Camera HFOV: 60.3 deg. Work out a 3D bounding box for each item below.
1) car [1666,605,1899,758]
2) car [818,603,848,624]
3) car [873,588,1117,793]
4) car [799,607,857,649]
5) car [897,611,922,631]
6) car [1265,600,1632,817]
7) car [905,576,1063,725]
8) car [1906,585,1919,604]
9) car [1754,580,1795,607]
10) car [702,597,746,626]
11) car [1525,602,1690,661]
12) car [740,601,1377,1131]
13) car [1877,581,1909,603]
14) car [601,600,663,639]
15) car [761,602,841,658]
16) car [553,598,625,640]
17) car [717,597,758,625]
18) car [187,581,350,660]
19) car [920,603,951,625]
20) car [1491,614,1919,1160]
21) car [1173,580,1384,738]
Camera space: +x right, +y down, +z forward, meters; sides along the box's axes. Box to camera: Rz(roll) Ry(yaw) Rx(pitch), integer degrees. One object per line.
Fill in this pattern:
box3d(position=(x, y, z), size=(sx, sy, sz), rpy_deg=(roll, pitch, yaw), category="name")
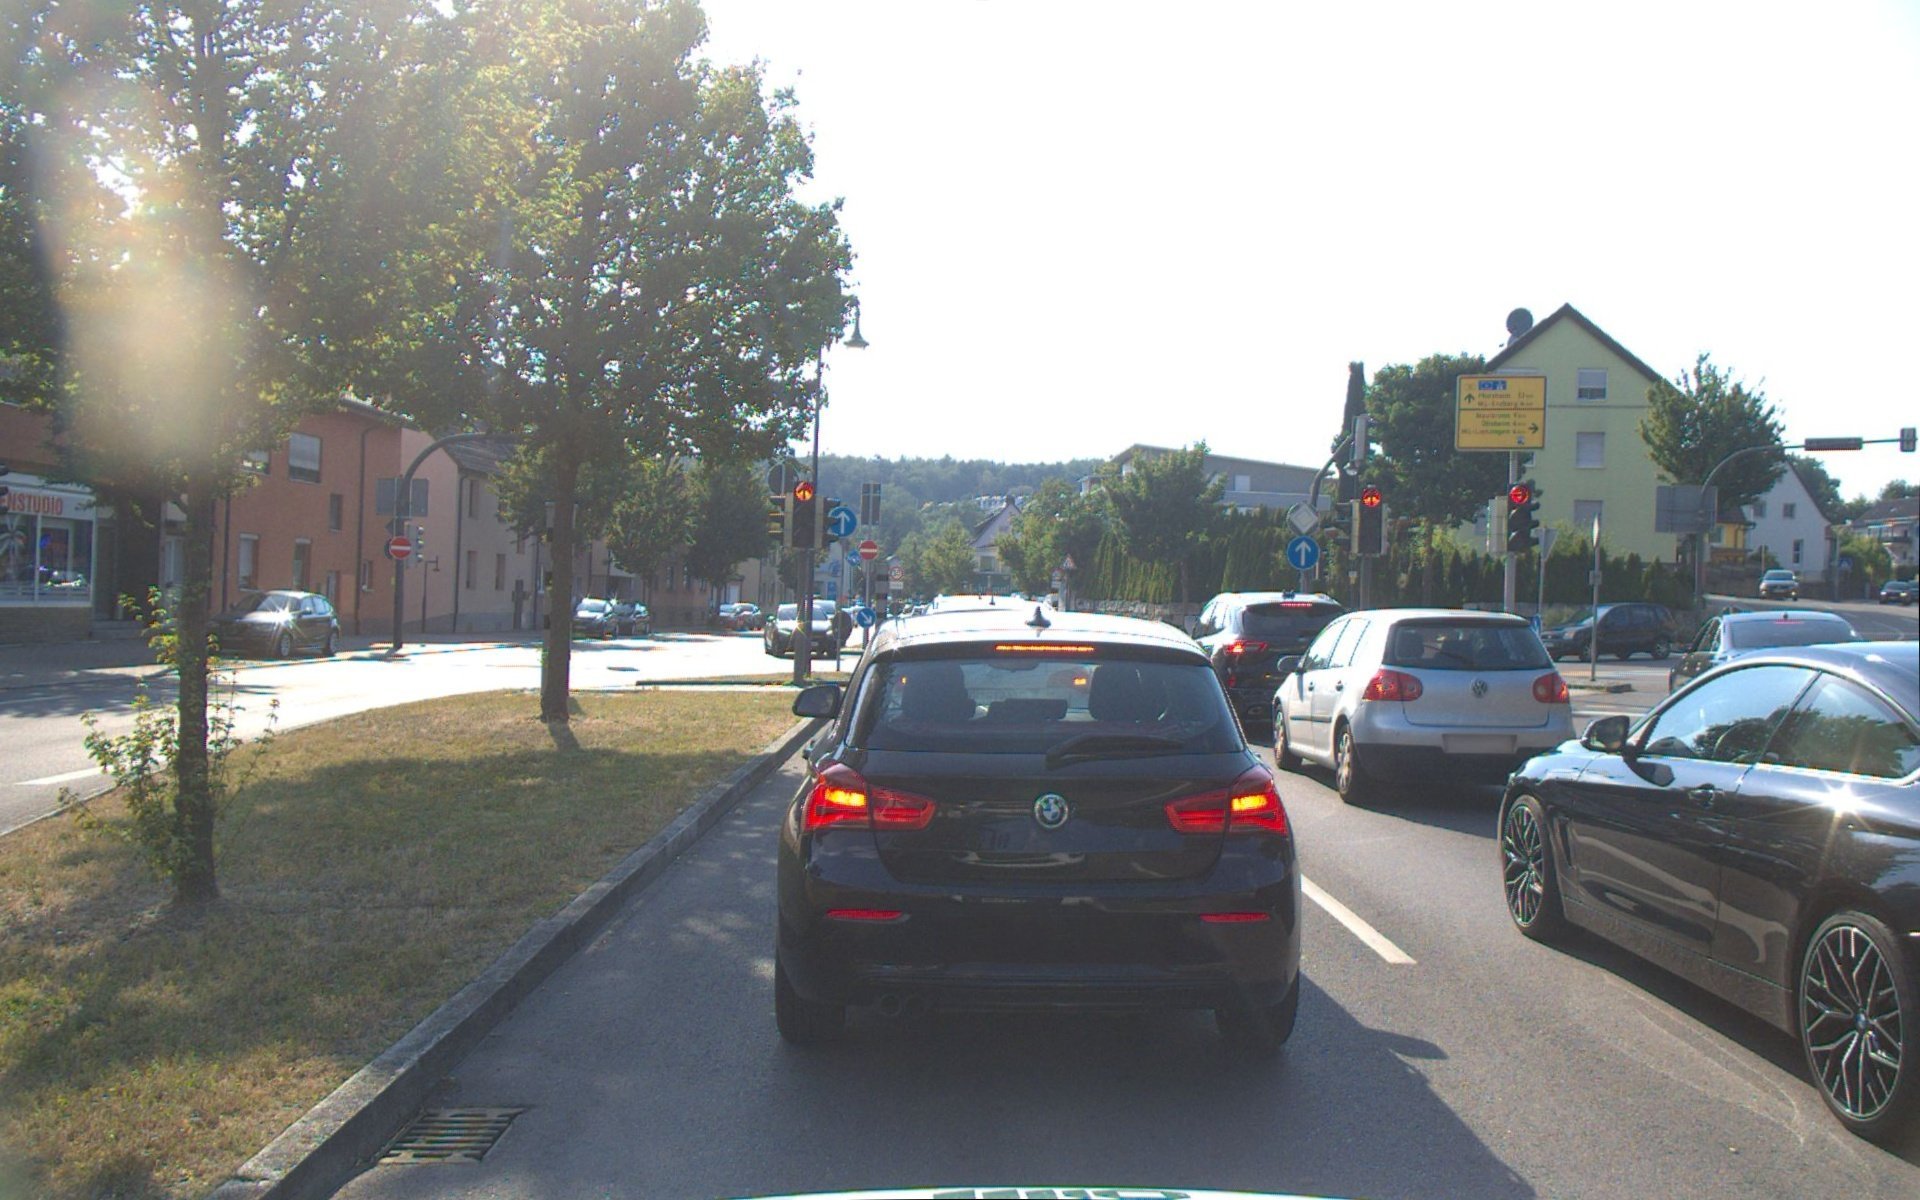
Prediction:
box3d(position=(9.063, 0.801, 18.563), size=(1.646, 1.460, 4.591), rpy_deg=(1, 0, 18), category="car")
box3d(position=(-9.867, 1.037, 128.653), size=(1.884, 1.624, 4.000), rpy_deg=(1, 0, 1), category="car")
box3d(position=(0.285, 0.661, 14.271), size=(1.779, 1.476, 4.242), rpy_deg=(1, 0, 1), category="car")
box3d(position=(-4.714, 0.978, 59.411), size=(1.658, 1.377, 4.000), rpy_deg=(1, 0, 1), category="car")
box3d(position=(-4.409, 1.808, 145.118), size=(1.854, 1.732, 4.518), rpy_deg=(0, 0, -6), category="car")
box3d(position=(3.786, 0.753, 13.637), size=(1.779, 1.471, 4.347), rpy_deg=(1, 0, 1), category="car")
box3d(position=(0.300, 0.573, 20.988), size=(1.779, 1.670, 4.242), rpy_deg=(1, 0, 1), category="car")
box3d(position=(82.858, -0.465, 142.992), size=(1.744, 1.607, 3.990), rpy_deg=(1, 0, 32), category="car")
box3d(position=(39.650, -0.349, 80.468), size=(1.678, 1.266, 3.995), rpy_deg=(1, 1, 28), category="car")
box3d(position=(-13.812, 0.675, 97.081), size=(1.884, 1.624, 4.000), rpy_deg=(1, 0, 1), category="car")
box3d(position=(17.827, 0.868, 45.577), size=(3.990, 1.533, 1.784), rpy_deg=(1, 0, -16), category="car")
box3d(position=(0.303, 0.741, 6.776), size=(1.754, 1.439, 4.347), rpy_deg=(1, 0, 1), category="car")
box3d(position=(69.553, -0.585, 123.297), size=(1.745, 1.607, 3.987), rpy_deg=(1, 0, 34), category="car")
box3d(position=(-14.469, 0.847, 73.135), size=(1.884, 1.624, 4.000), rpy_deg=(1, 0, 1), category="car")
box3d(position=(-4.549, 0.816, 46.909), size=(1.736, 1.484, 3.987), rpy_deg=(1, 0, -13), category="car")
box3d(position=(-14.970, 0.733, 66.939), size=(1.884, 1.624, 4.000), rpy_deg=(1, 0, 1), category="car")
box3d(position=(-13.766, 0.665, 102.587), size=(1.884, 1.624, 4.000), rpy_deg=(1, 0, 1), category="car")
box3d(position=(-15.520, 0.436, 37.342), size=(1.805, 1.579, 4.001), rpy_deg=(3, 0, 2), category="car")
box3d(position=(-1.830, 1.021, 123.529), size=(1.826, 1.511, 4.652), rpy_deg=(1, 0, -6), category="car")
box3d(position=(3.465, 0.789, 5.904), size=(1.779, 1.413, 4.347), rpy_deg=(1, 0, 1), category="car")
box3d(position=(3.769, 0.643, 20.294), size=(1.779, 1.695, 4.347), rpy_deg=(1, 0, 1), category="car")
